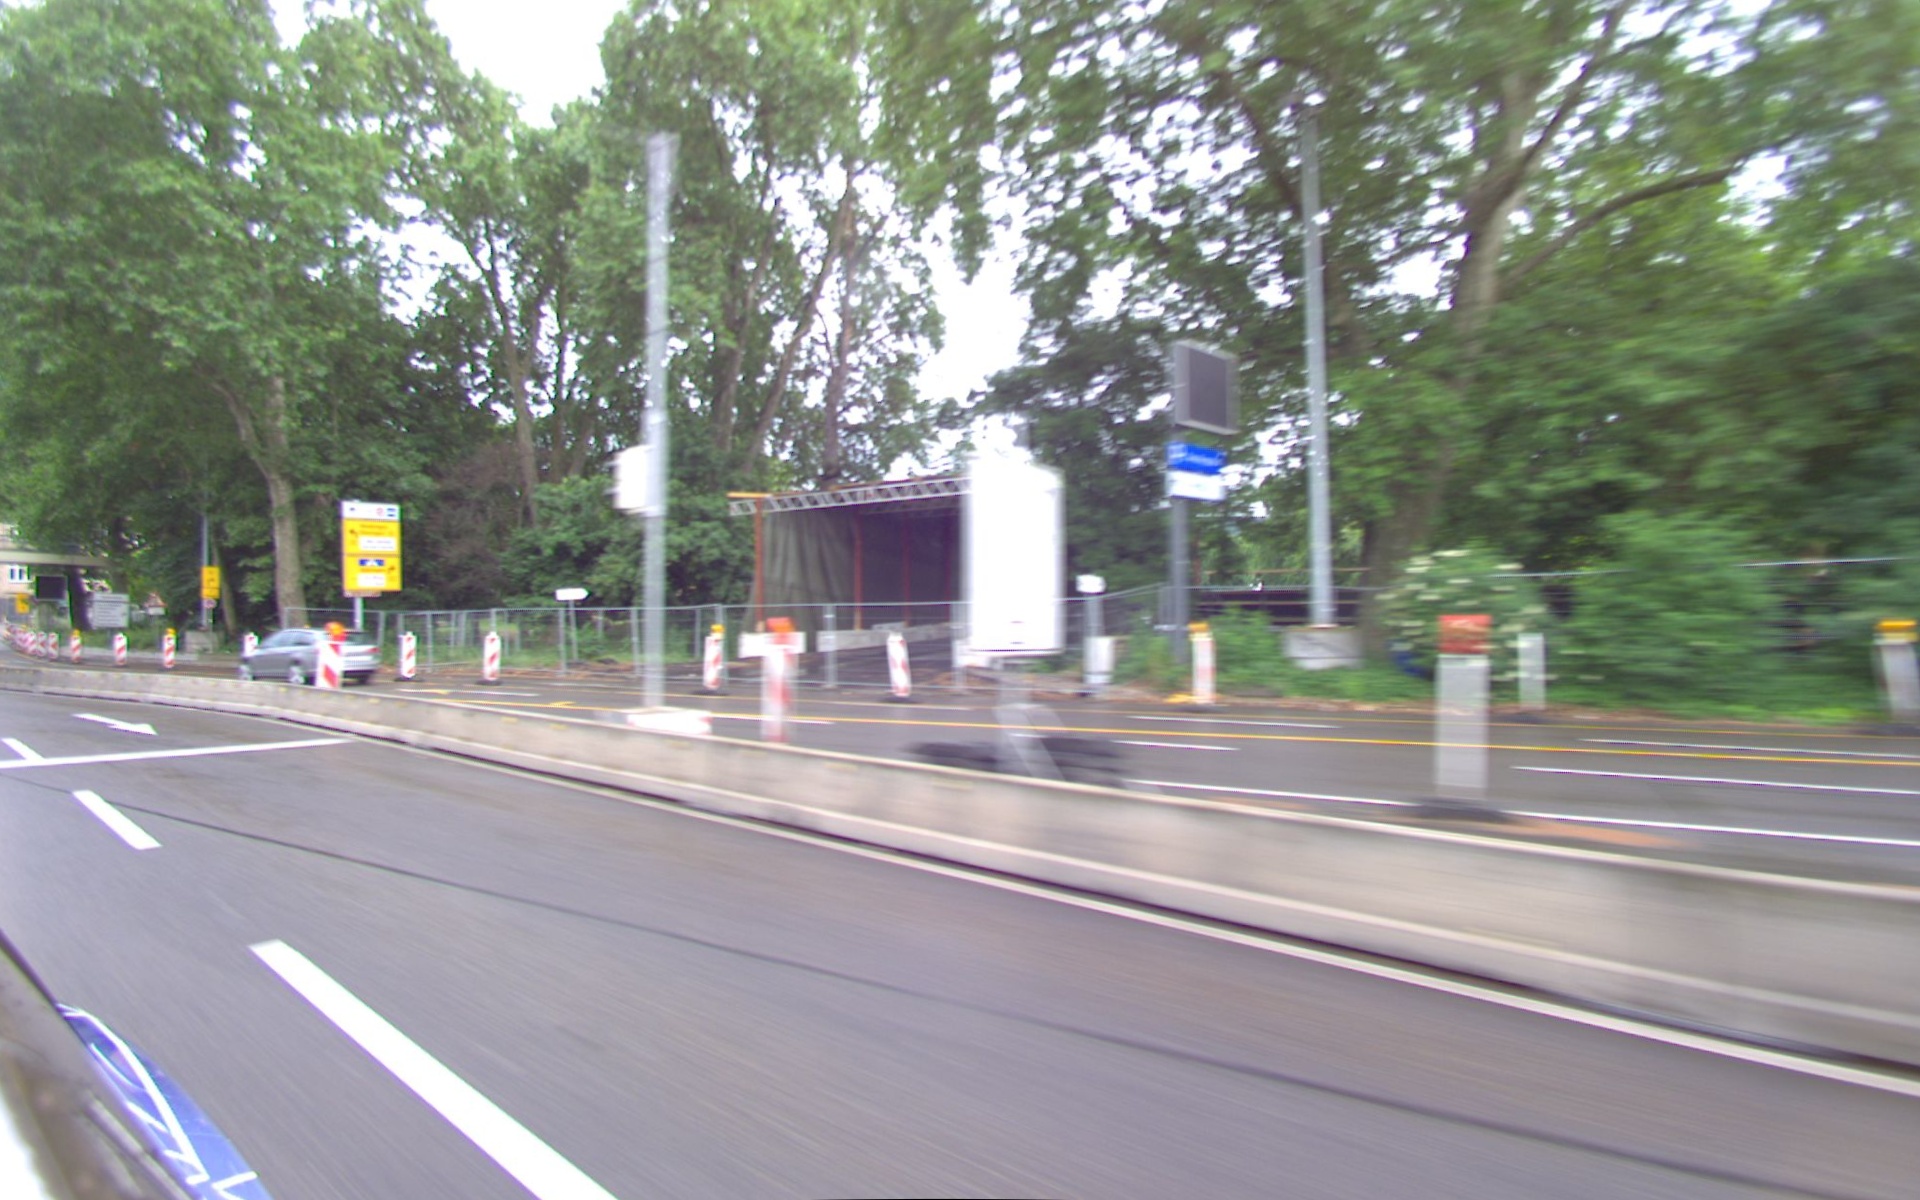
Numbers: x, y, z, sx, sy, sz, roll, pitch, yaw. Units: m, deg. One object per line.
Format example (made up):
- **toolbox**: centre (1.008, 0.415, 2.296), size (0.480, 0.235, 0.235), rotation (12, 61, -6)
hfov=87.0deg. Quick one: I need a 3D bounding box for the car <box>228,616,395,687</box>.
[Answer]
- **car**: centre (-16.985, 1.286, 26.463), size (4.431, 1.552, 1.978), rotation (2, -1, 32)
